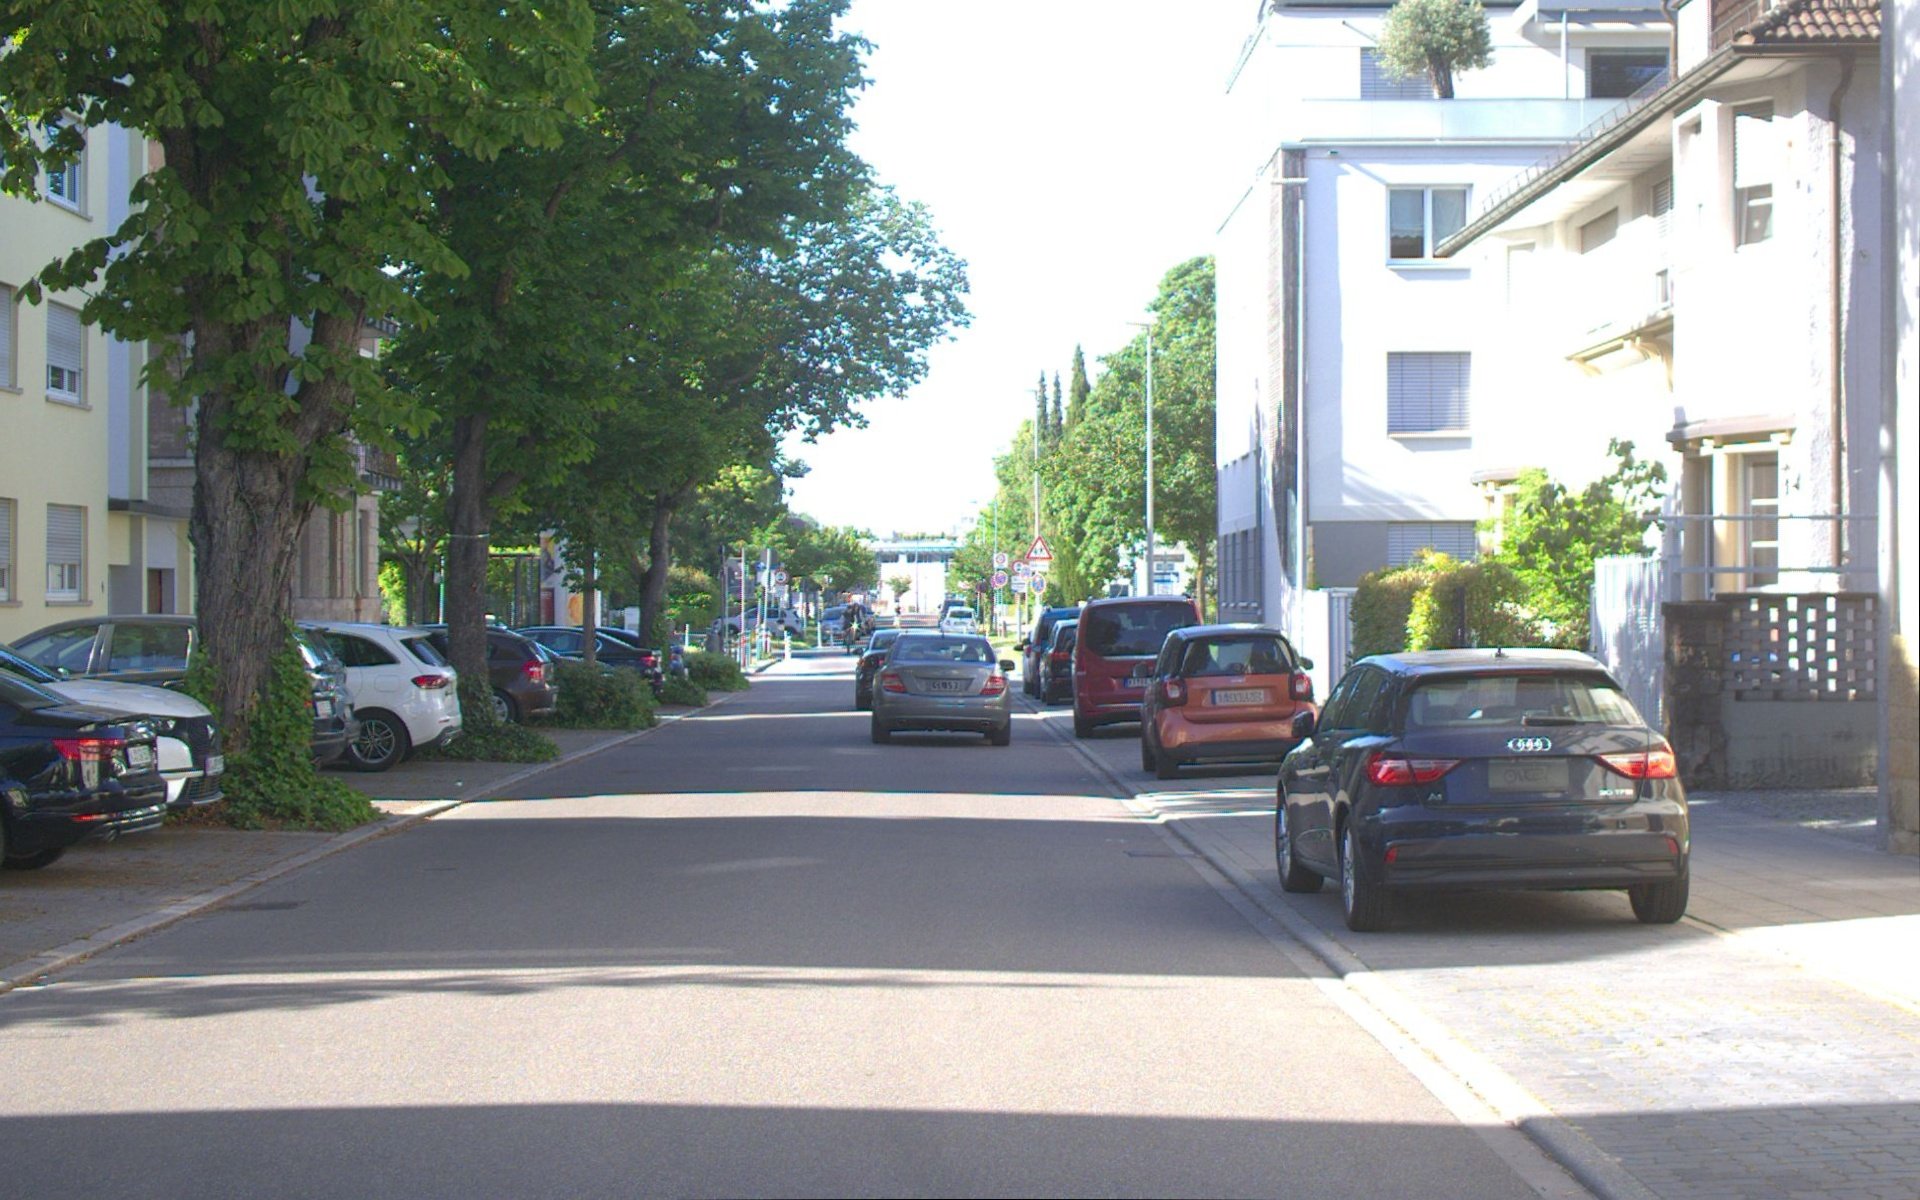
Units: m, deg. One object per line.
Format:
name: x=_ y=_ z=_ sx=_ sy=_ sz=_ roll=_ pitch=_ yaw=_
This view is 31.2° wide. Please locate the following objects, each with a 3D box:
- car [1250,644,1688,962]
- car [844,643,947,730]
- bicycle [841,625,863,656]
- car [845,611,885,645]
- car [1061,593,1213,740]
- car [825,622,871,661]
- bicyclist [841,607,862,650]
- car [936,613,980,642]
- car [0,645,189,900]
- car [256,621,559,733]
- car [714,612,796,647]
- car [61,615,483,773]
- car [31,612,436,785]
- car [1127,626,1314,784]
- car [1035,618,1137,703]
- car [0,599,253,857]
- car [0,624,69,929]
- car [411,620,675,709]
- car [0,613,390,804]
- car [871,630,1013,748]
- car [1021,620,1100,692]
car: x=2.670 y=1.021 z=18.865 sx=1.619 sy=1.435 sz=3.935 roll=-3 pitch=0 yaw=-2
car: x=-1.140 y=1.520 z=60.779 sx=1.707 sy=1.443 sz=4.202 roll=2 pitch=-1 yaw=-1
bicycle: x=-3.865 y=1.446 z=123.232 sx=0.719 sy=1.075 sz=1.890 roll=0 pitch=0 yaw=0
car: x=-4.997 y=1.496 z=180.392 sx=1.787 sy=1.527 sz=4.000 roll=-4 pitch=-2 yaw=-4
car: x=2.407 y=0.914 z=47.996 sx=1.871 sy=1.899 sz=5.197 roll=-1 pitch=-1 yaw=1
car: x=-5.152 y=1.903 z=157.240 sx=1.872 sy=1.722 sz=4.001 roll=0 pitch=0 yaw=-5
bicyclist: x=-3.892 y=1.012 z=123.295 sx=0.721 sy=1.532 sz=1.137 roll=0 pitch=0 yaw=0
car: x=-0.100 y=1.252 z=159.574 sx=1.722 sy=1.325 sz=4.001 roll=0 pitch=0 yaw=-5
car: x=-6.853 y=1.027 z=20.835 sx=3.987 sy=1.463 sz=1.697 roll=0 pitch=0 yaw=-1
car: x=-7.751 y=1.069 z=48.450 sx=3.987 sy=1.417 sz=1.771 roll=1 pitch=1 yaw=-1
car: x=-9.066 y=1.299 z=151.833 sx=3.493 sy=1.528 sz=1.645 roll=0 pitch=0 yaw=-7
car: x=-7.134 y=0.964 z=35.941 sx=4.022 sy=1.480 sz=1.807 roll=2 pitch=0 yaw=-1
car: x=-7.071 y=0.942 z=33.687 sx=3.515 sy=1.570 sz=1.770 roll=1 pitch=0 yaw=3
car: x=2.640 y=1.044 z=35.411 sx=1.592 sy=1.475 sz=3.247 roll=-2 pitch=0 yaw=-1
car: x=2.334 y=1.109 z=64.563 sx=1.737 sy=1.526 sz=4.178 roll=0 pitch=0 yaw=0
car: x=-7.282 y=0.883 z=23.714 sx=4.386 sy=1.646 sz=1.823 roll=-1 pitch=1 yaw=1
car: x=-7.040 y=0.938 z=18.596 sx=3.986 sy=1.587 sz=1.878 roll=0 pitch=0 yaw=-2
car: x=-7.375 y=1.155 z=61.120 sx=4.473 sy=1.474 sz=1.868 roll=1 pitch=-1 yaw=-2
car: x=-7.336 y=0.944 z=30.985 sx=3.987 sy=1.570 sz=1.980 roll=1 pitch=0 yaw=3
car: x=-0.204 y=1.152 z=44.825 sx=1.726 sy=1.415 sz=3.960 roll=2 pitch=-1 yaw=1
car: x=2.165 y=1.226 z=74.791 sx=1.564 sy=1.406 sz=3.729 roll=-4 pitch=-1 yaw=1
